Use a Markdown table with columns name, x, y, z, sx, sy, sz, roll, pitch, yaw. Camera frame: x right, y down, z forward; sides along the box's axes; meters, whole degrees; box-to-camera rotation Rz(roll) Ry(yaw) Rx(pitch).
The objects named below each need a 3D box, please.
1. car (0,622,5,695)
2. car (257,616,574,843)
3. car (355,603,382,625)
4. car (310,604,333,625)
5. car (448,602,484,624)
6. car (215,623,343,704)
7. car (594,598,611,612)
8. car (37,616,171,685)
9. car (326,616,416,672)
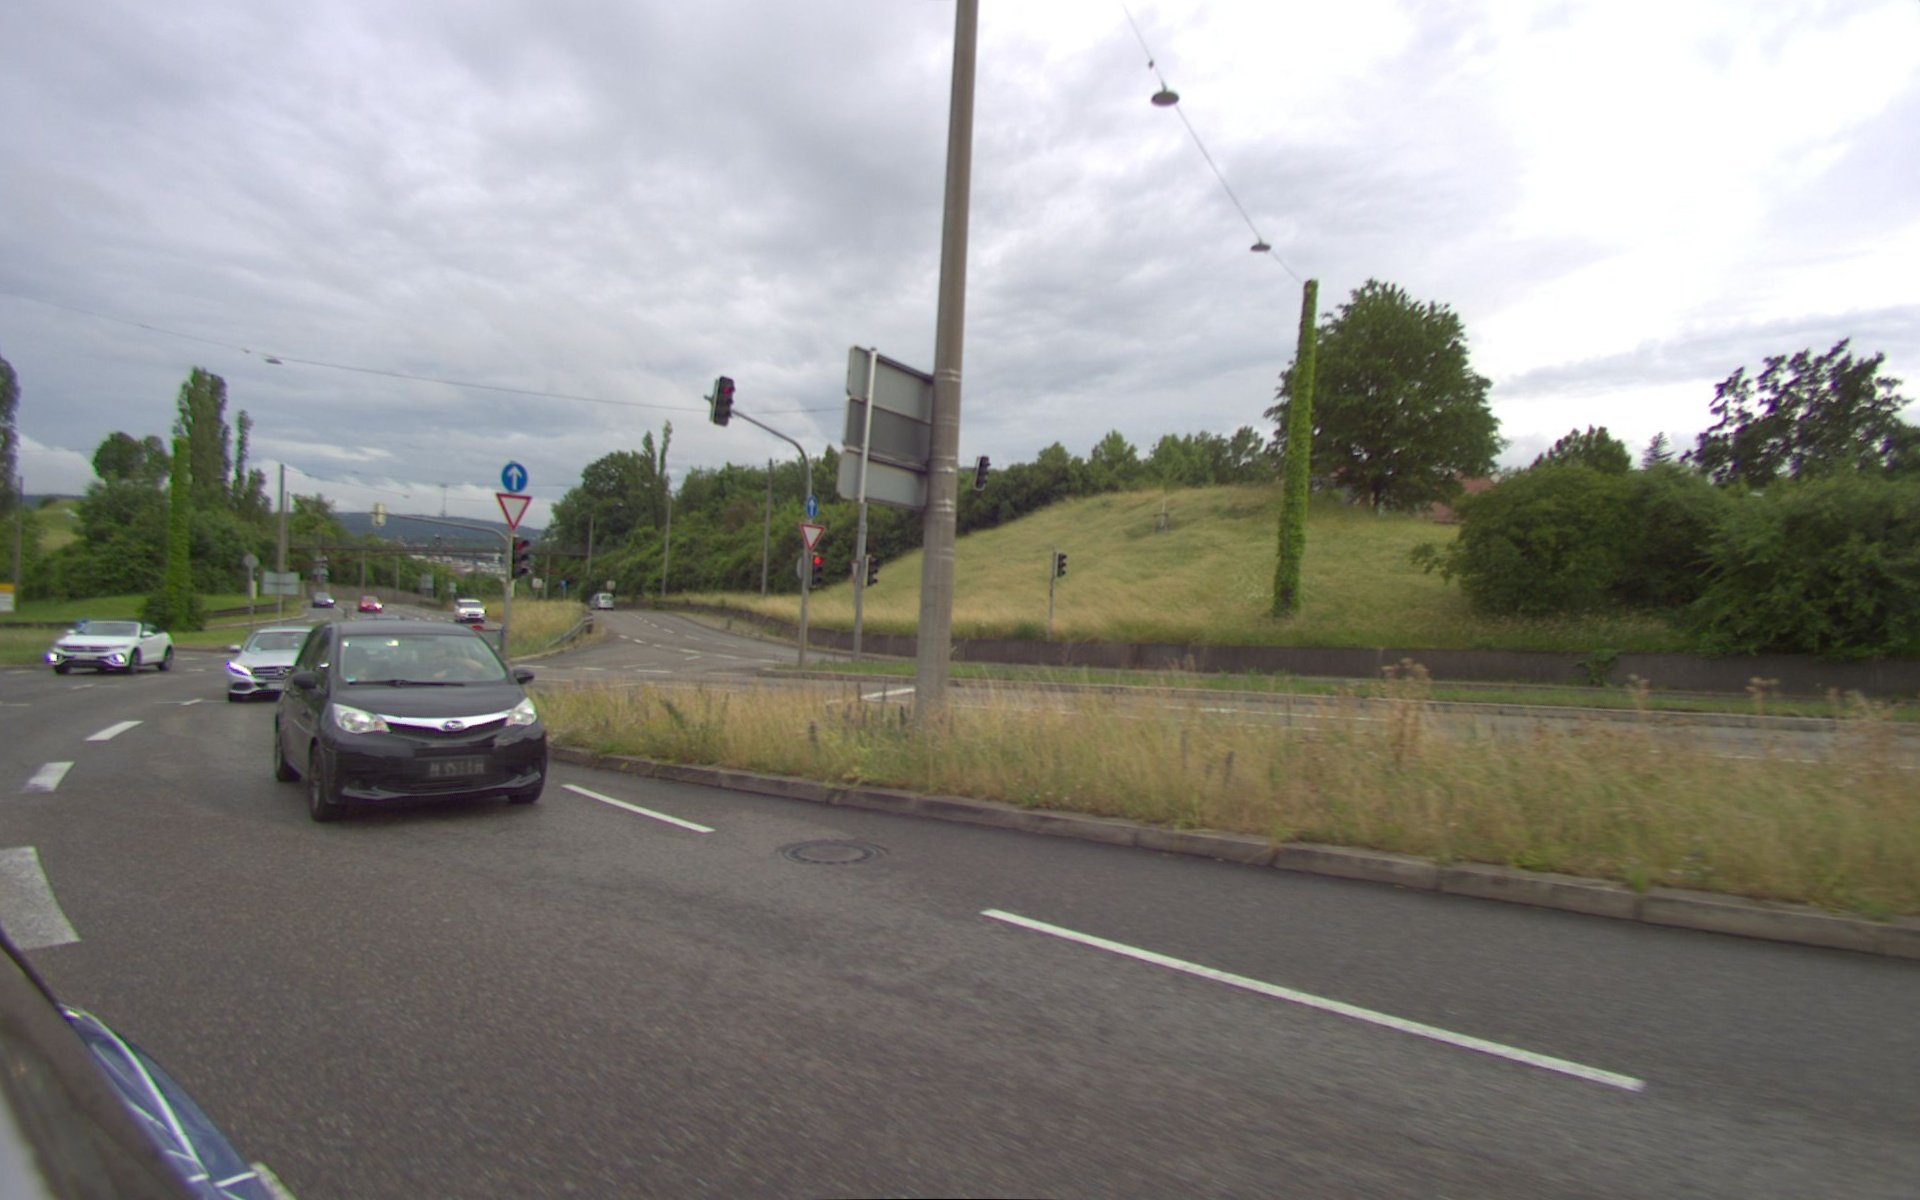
| name | x | y | z | sx | sy | sz | roll | pitch | yaw |
| --- | --- | --- | --- | --- | --- | --- | --- | --- | --- |
| car | -19.756 | 1.151 | 18.911 | 1.697 | 1.534 | 4.240 | 2 | -2 | -29 |
| car | -5.102 | 0.982 | 9.201 | 1.773 | 1.577 | 4.050 | 3 | -3 | -39 |
| car | -55.329 | 1.330 | 94.621 | 1.966 | 2.029 | 4.011 | 0 | -1 | -34 |
| car | -63.771 | 1.443 | 101.075 | 1.966 | 2.029 | 4.011 | 0 | -1 | -33 |
| car | -39.015 | 1.035 | 79.884 | 1.967 | 1.705 | 4.300 | 0 | -1 | -34 |
| car | -14.134 | 1.271 | 21.243 | 1.966 | 1.418 | 4.538 | 3 | -2 | -31 |
| car | -39.191 | 0.566 | 110.878 | 1.534 | 1.443 | 3.240 | -1 | 1 | -23 |
| car | -24.264 | 1.371 | 28.866 | 1.812 | 1.551 | 3.831 | 0 | 3 | -22 |
| car | -19.707 | 1.432 | 34.037 | 1.895 | 1.748 | 4.038 | 0 | -1 | -19 |
